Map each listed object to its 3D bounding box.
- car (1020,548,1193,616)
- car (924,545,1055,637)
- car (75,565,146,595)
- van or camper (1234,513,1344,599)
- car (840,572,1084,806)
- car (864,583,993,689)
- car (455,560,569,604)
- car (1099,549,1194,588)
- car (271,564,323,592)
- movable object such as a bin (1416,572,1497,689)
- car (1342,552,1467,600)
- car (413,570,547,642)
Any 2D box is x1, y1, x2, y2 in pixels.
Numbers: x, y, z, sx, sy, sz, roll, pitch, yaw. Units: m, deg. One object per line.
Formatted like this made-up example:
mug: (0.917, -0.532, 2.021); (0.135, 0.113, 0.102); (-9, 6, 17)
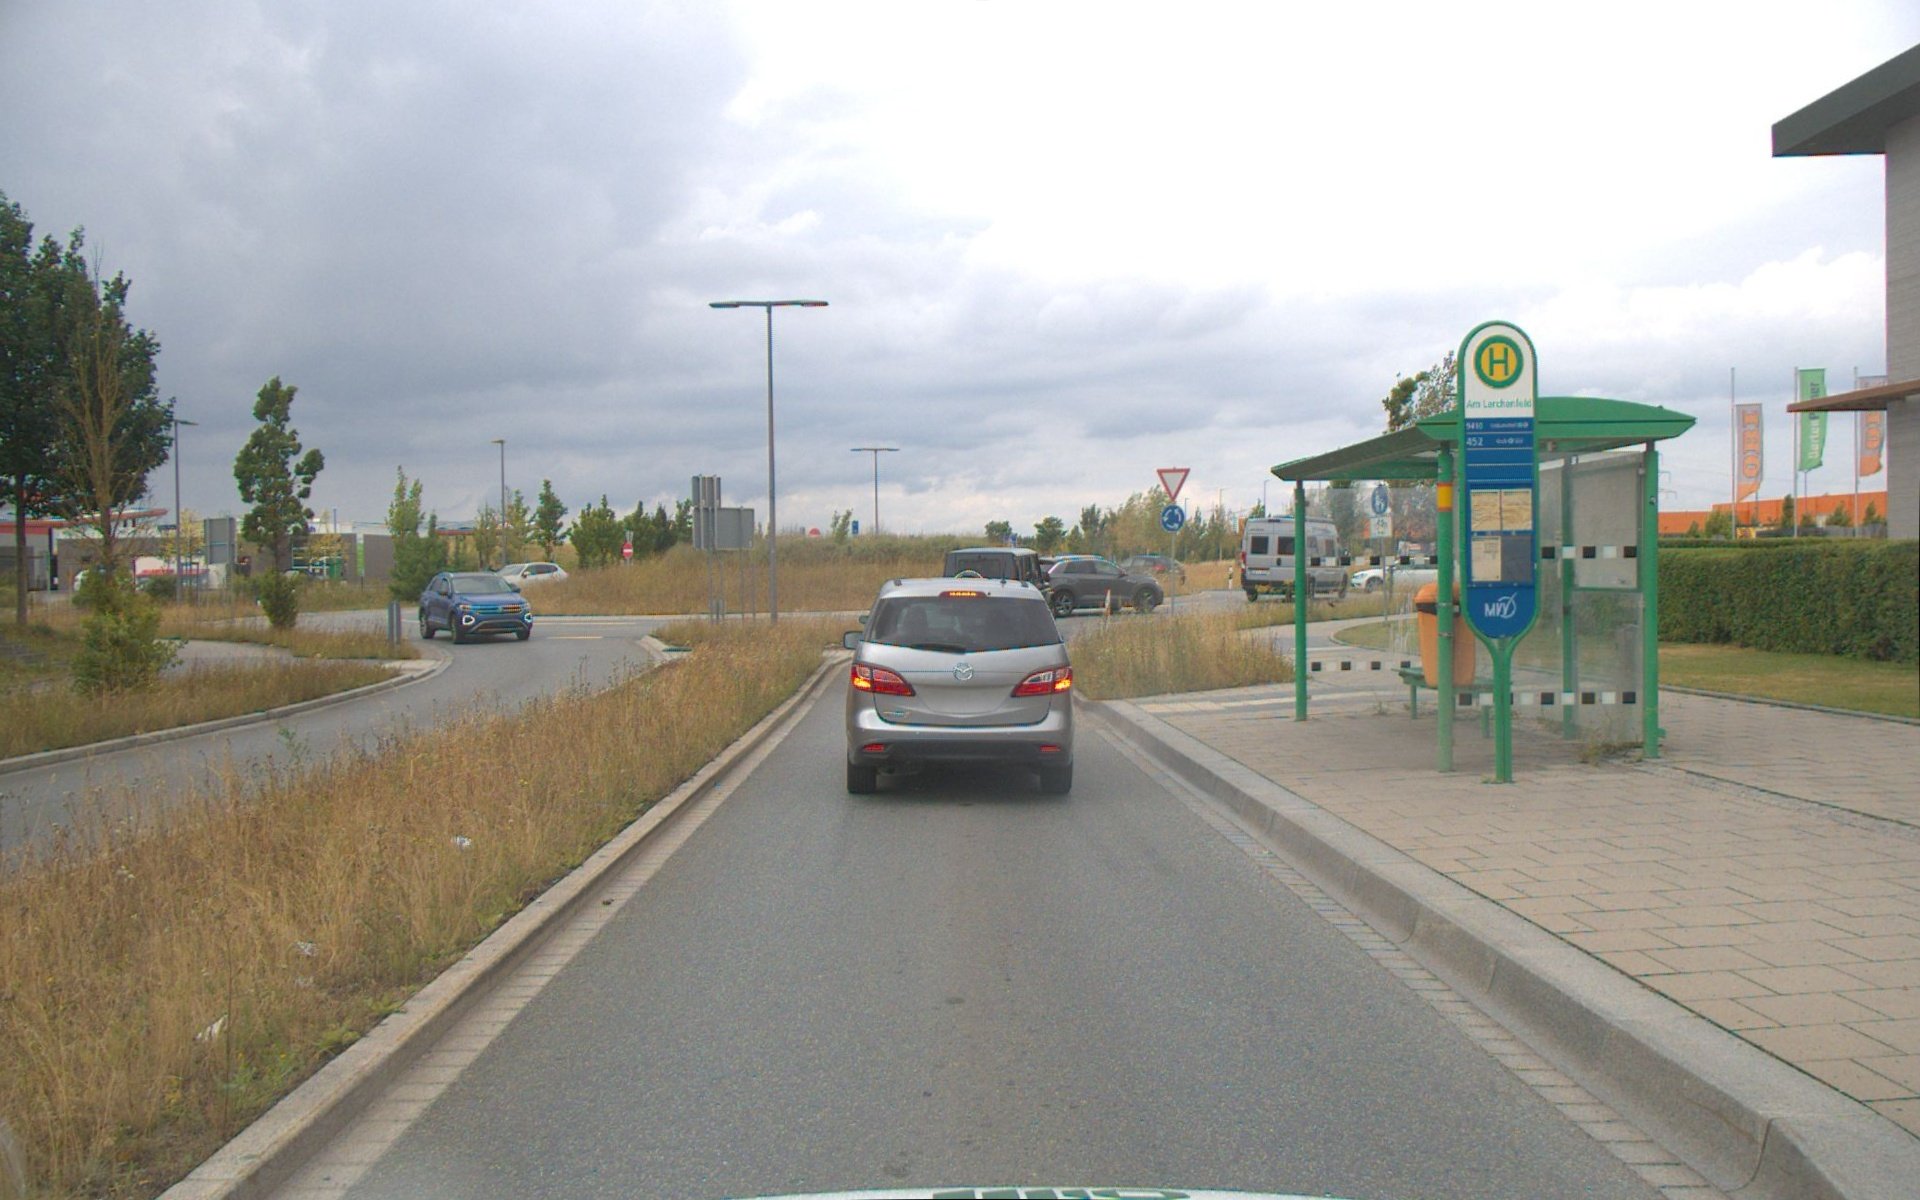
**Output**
car: (3.912, -0.493, 44.228); (4.136, 1.620, 2.050); (-2, 1, -24)
car: (0.730, -0.206, 35.933); (2.014, 1.857, 4.790); (0, 0, 11)
car: (-59.049, -1.422, 114.984); (3.907, 2.049, 1.999); (0, 1, -3)
van or camper: (10.407, -1.339, 51.990); (2.257, 2.549, 5.203); (0, 1, 25)
car: (-0.055, 0.593, 13.450); (1.695, 1.628, 3.806); (0, 1, -2)
car: (-0.424, 0.487, 25.519); (1.807, 1.443, 4.225); (-1, 1, 1)
car: (-18.239, -0.748, 67.481); (1.991, 1.720, 4.202); (-1, 1, 33)
car: (7.613, -1.268, 67.849); (1.971, 1.542, 3.962); (-1, 1, -29)
car: (-45.834, -1.503, 114.409); (1.953, 1.892, 4.000); (0, 1, 0)
movable object such as a bin: (3.503, 0.208, 11.682); (0.446, 0.812, 0.380); (-1, 0, -2)
car: (17.223, -0.917, 64.238); (4.503, 1.788, 2.002); (0, 0, 9)
car: (-11.420, 0.164, 39.208); (1.826, 1.555, 4.177); (-3, 0, -34)
